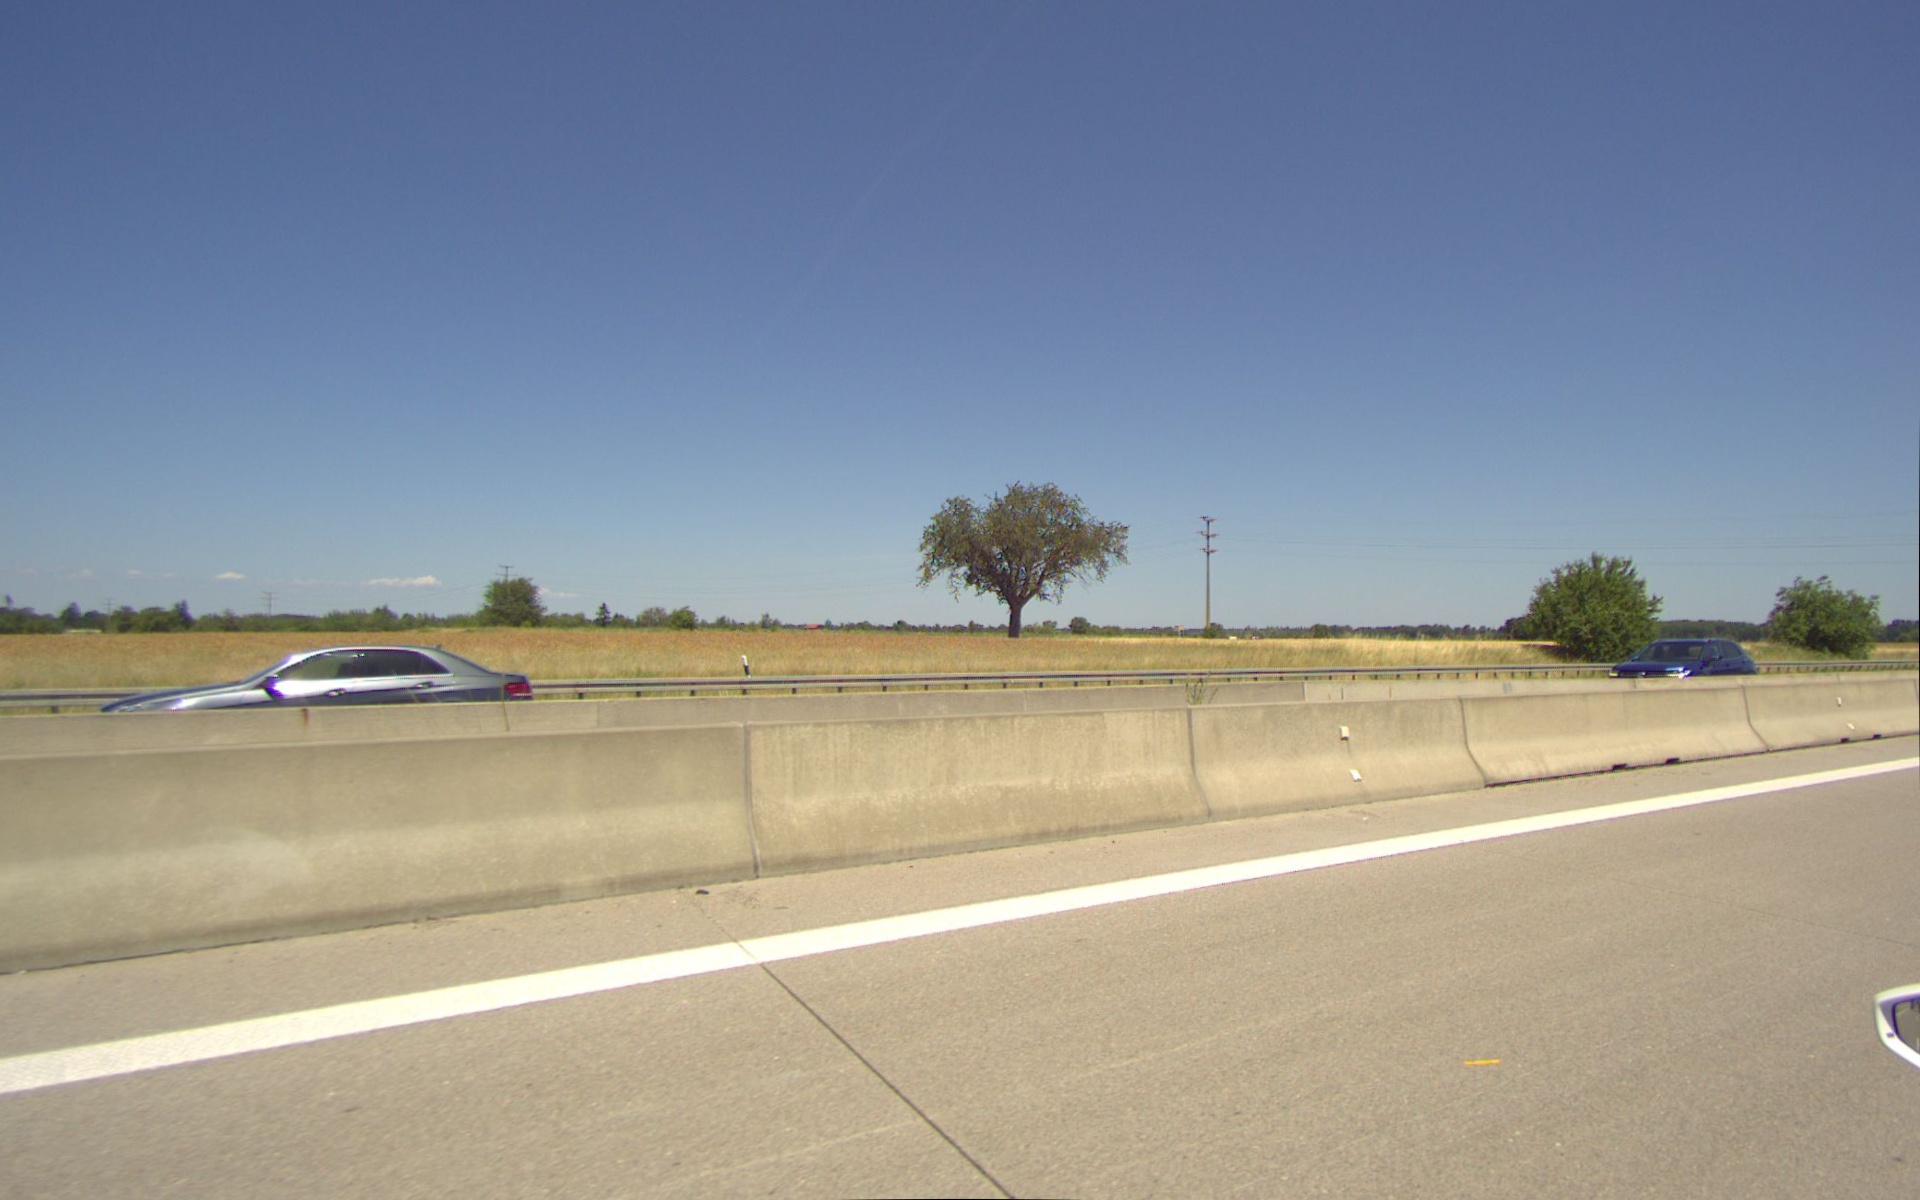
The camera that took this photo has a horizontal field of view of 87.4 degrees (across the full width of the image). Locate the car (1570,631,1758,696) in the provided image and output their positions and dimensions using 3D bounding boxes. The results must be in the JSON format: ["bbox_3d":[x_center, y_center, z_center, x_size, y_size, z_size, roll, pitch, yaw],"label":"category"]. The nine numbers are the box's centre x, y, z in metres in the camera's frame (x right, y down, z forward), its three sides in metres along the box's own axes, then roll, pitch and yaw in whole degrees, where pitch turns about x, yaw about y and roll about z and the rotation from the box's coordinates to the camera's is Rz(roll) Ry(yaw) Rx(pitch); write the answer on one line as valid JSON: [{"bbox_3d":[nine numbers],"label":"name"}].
[{"bbox_3d":[15.869,1.387,22.573,4.624,1.256,1.762,2,0,-31],"label":"car"}]

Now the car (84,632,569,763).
[{"bbox_3d":[-7.863,1.150,13.010,4.987,1.377,1.703,2,0,-32],"label":"car"}]
